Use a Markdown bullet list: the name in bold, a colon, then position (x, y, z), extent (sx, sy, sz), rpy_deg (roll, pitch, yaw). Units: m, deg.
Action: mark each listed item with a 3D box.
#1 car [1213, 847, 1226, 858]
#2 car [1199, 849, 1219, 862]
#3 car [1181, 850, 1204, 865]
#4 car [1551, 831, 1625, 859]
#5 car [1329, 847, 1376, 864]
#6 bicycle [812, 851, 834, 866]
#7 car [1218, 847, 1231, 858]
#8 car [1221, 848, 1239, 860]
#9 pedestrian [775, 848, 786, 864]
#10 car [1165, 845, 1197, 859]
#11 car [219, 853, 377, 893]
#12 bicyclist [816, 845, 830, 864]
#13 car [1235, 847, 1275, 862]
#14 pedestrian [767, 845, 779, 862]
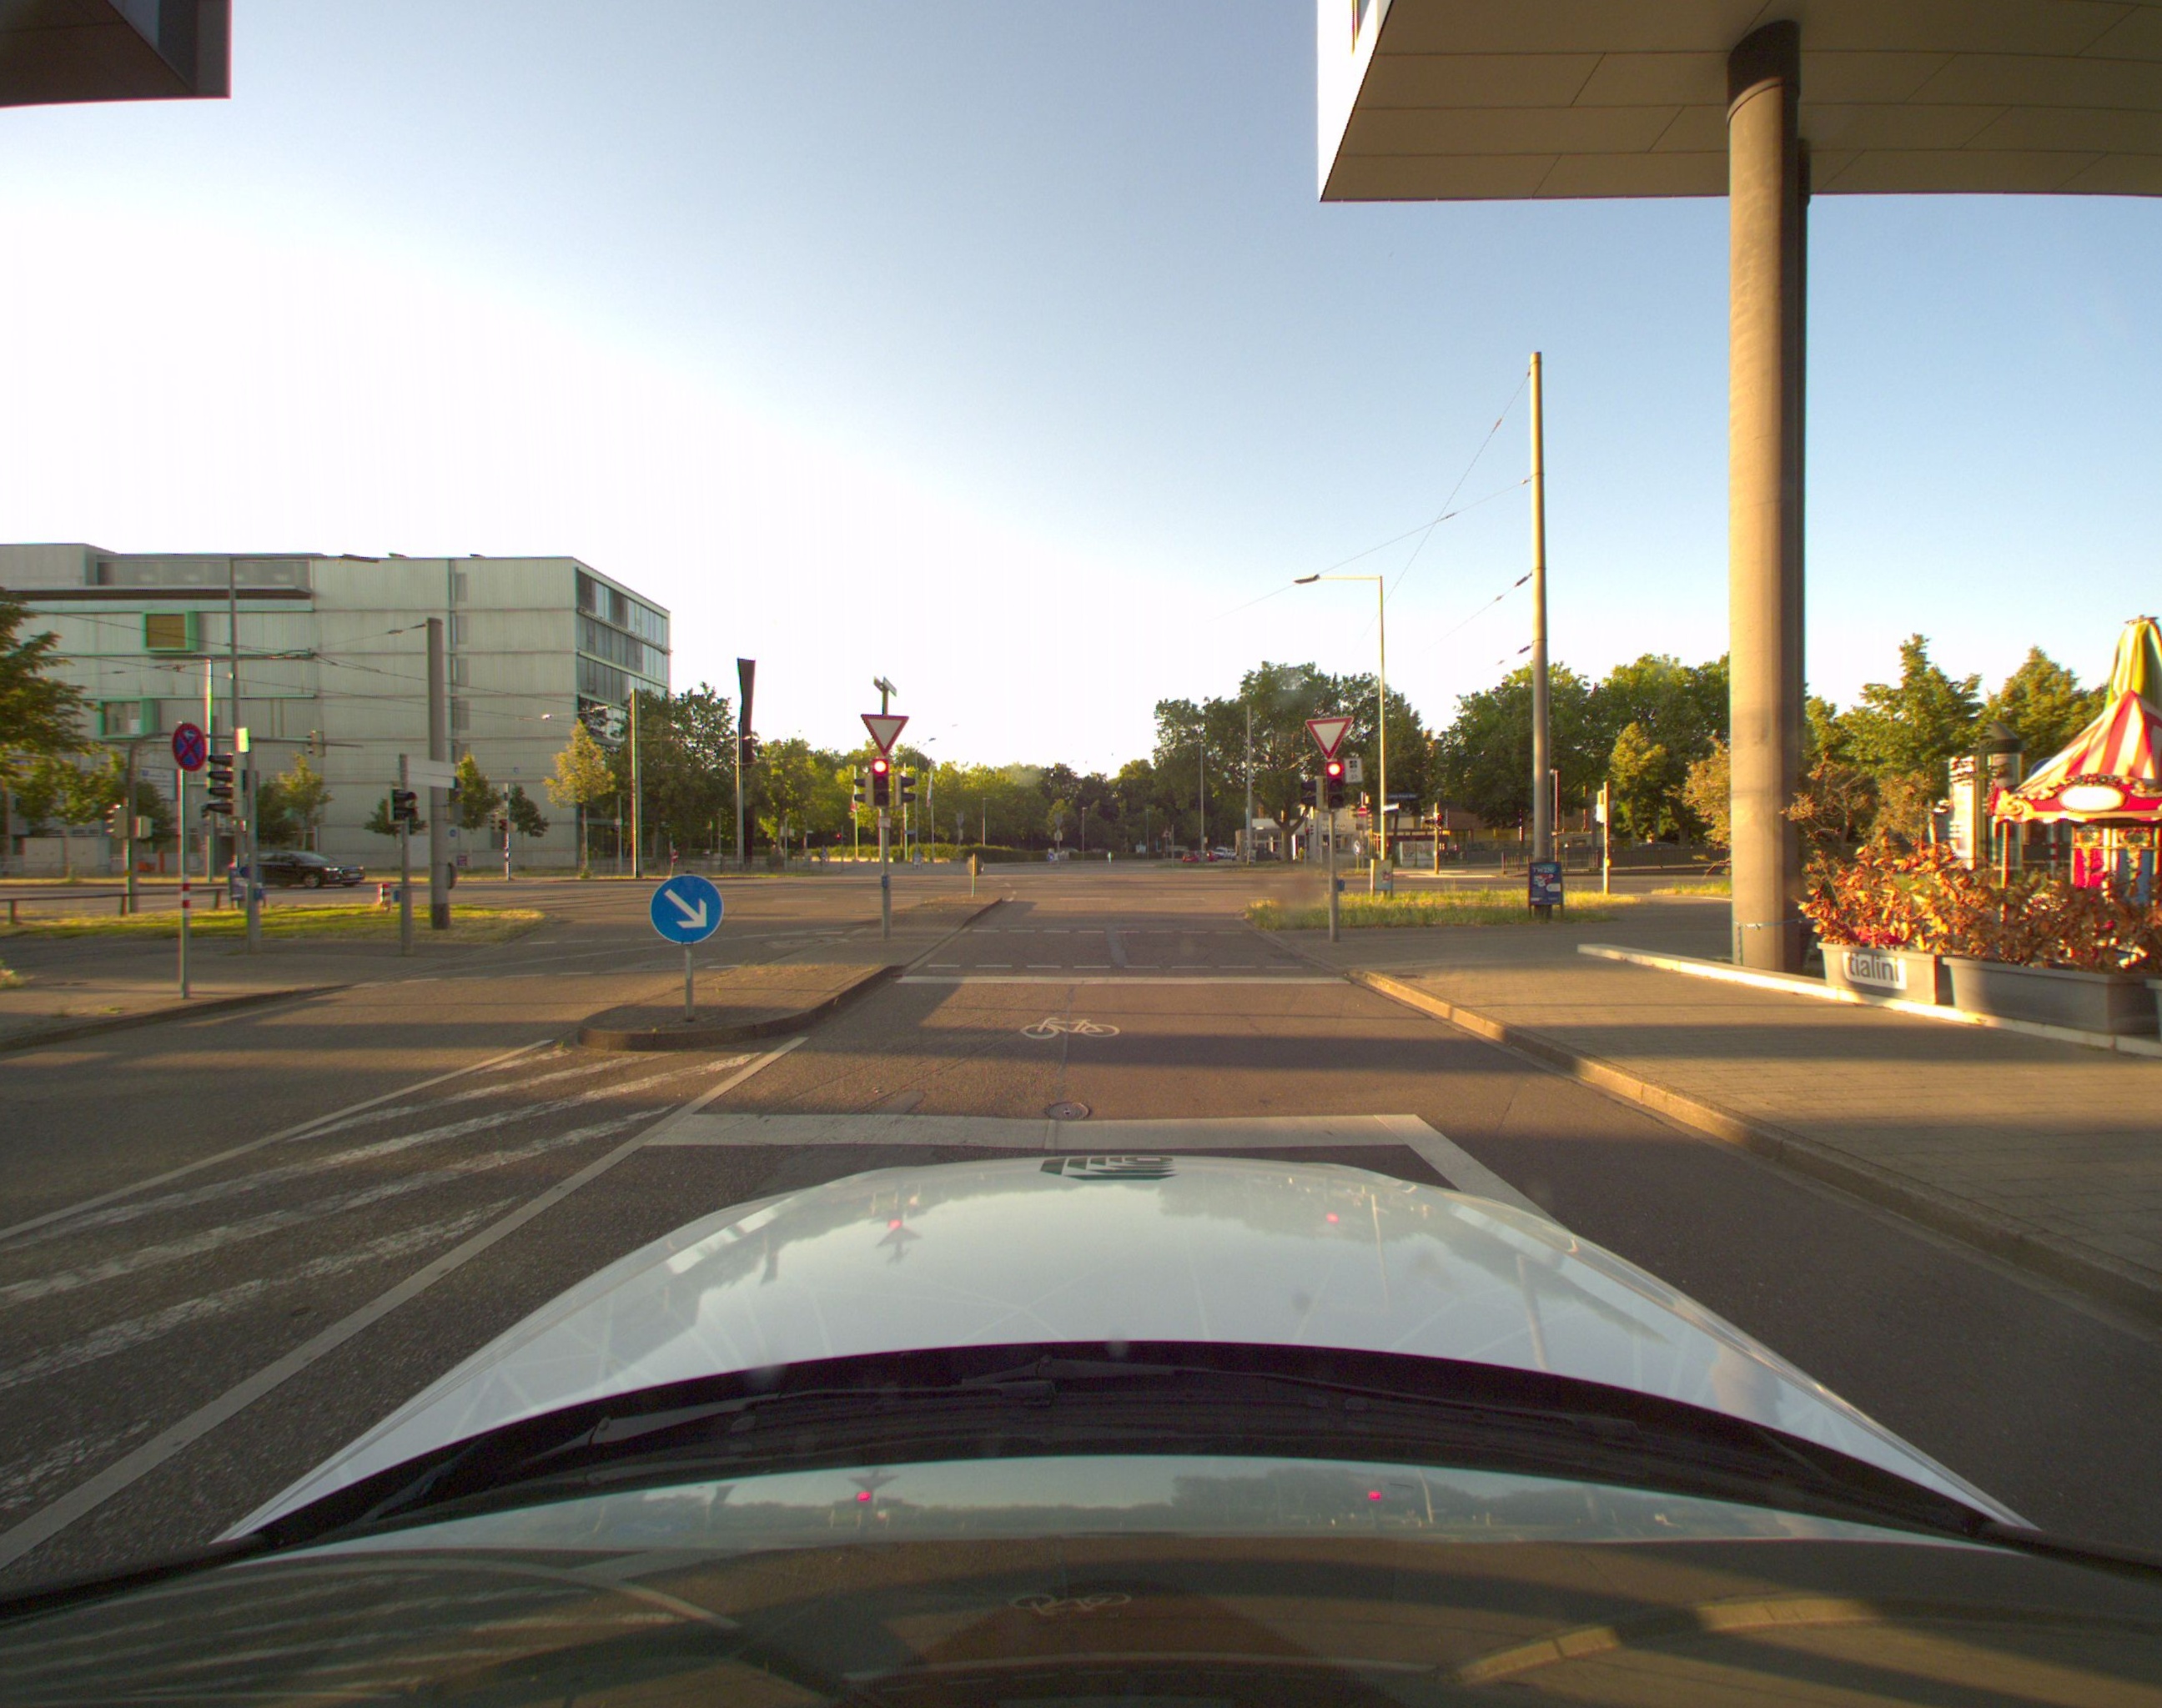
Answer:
- **car**: position (22.276, -0.242, 130.883), extent (1.850, 1.794, 4.013), rpy_deg (-1, -1, 12)
- **car**: position (16.213, 0.221, 103.183), extent (1.978, 1.662, 4.018), rpy_deg (-1, -1, 17)
- **car**: position (13.110, 0.384, 95.563), extent (1.978, 1.662, 4.018), rpy_deg (-1, -1, 17)
- **car**: position (47.908, -0.860, 77.043), extent (5.561, 2.551, 2.235), rpy_deg (-1, 0, 9)
- **car**: position (23.835, 0.167, 71.678), extent (3.715, 1.440, 1.669), rpy_deg (-1, -1, 11)
- **bicycle**: position (-22.796, 0.376, 71.881), extent (2.657, 1.341, 0.736), rpy_deg (0, 0, 45)
- **car**: position (23.940, -0.249, 135.741), extent (1.849, 1.794, 4.015), rpy_deg (-1, -1, 14)
- **car**: position (21.093, 0.005, 115.303), extent (1.978, 1.662, 4.018), rpy_deg (-1, -1, 17)
- **pedestrian**: position (-32.500, 0.195, 88.095), extent (0.852, 1.744, 0.835), rpy_deg (-1, 0, 30)
- **car**: position (15.422, -0.323, 125.733), extent (4.753, 2.006, 2.002), rpy_deg (-1, -1, 3)
- **car**: position (-32.504, 0.748, 33.900), extent (4.467, 1.557, 1.986), rpy_deg (-1, 0, -4)
- **bicyclist**: position (-22.702, 0.044, 71.597), extent (0.908, 1.709, 0.758), rpy_deg (-1, 0, 42)
- **car**: position (18.928, 0.017, 88.904), extent (4.194, 1.552, 2.005), rpy_deg (-1, -1, 9)
- **pedestrian**: position (-33.027, -0.068, 87.354), extent (0.852, 1.744, 0.835), rpy_deg (-1, 0, 33)
